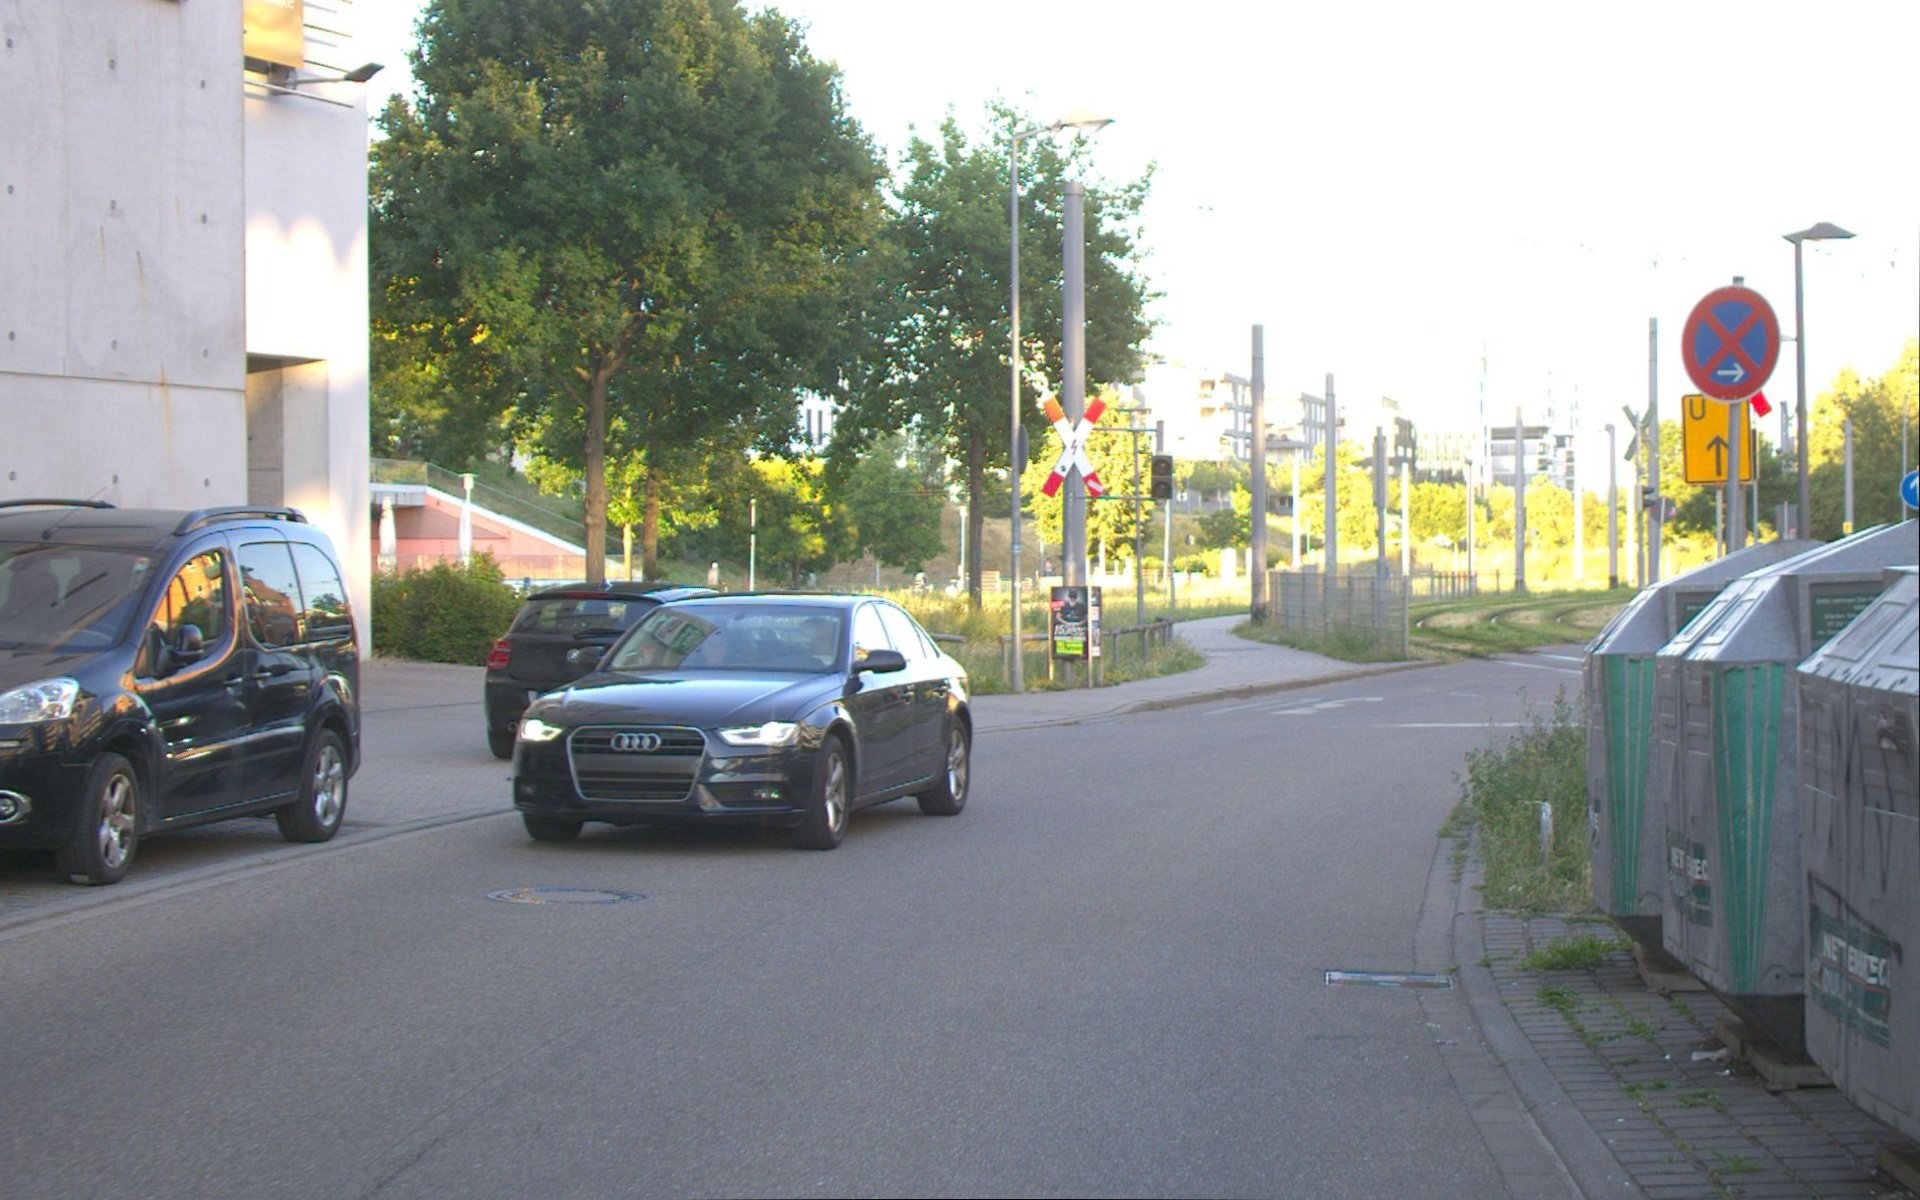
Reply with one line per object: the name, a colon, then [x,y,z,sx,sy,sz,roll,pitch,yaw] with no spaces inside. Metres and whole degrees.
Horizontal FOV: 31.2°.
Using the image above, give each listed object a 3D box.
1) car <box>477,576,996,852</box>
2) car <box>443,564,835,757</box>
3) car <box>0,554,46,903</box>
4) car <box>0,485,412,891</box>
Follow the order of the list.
car: [-1.178,0.582,20.419,1.779,1.417,4.513,0,1,14]
car: [-2.534,0.433,28.287,1.945,1.378,4.397,2,1,12]
car: [-5.054,0.545,12.531,1.723,1.452,4.693,2,1,6]
car: [-4.444,0.334,17.590,1.758,1.792,4.461,2,1,11]
